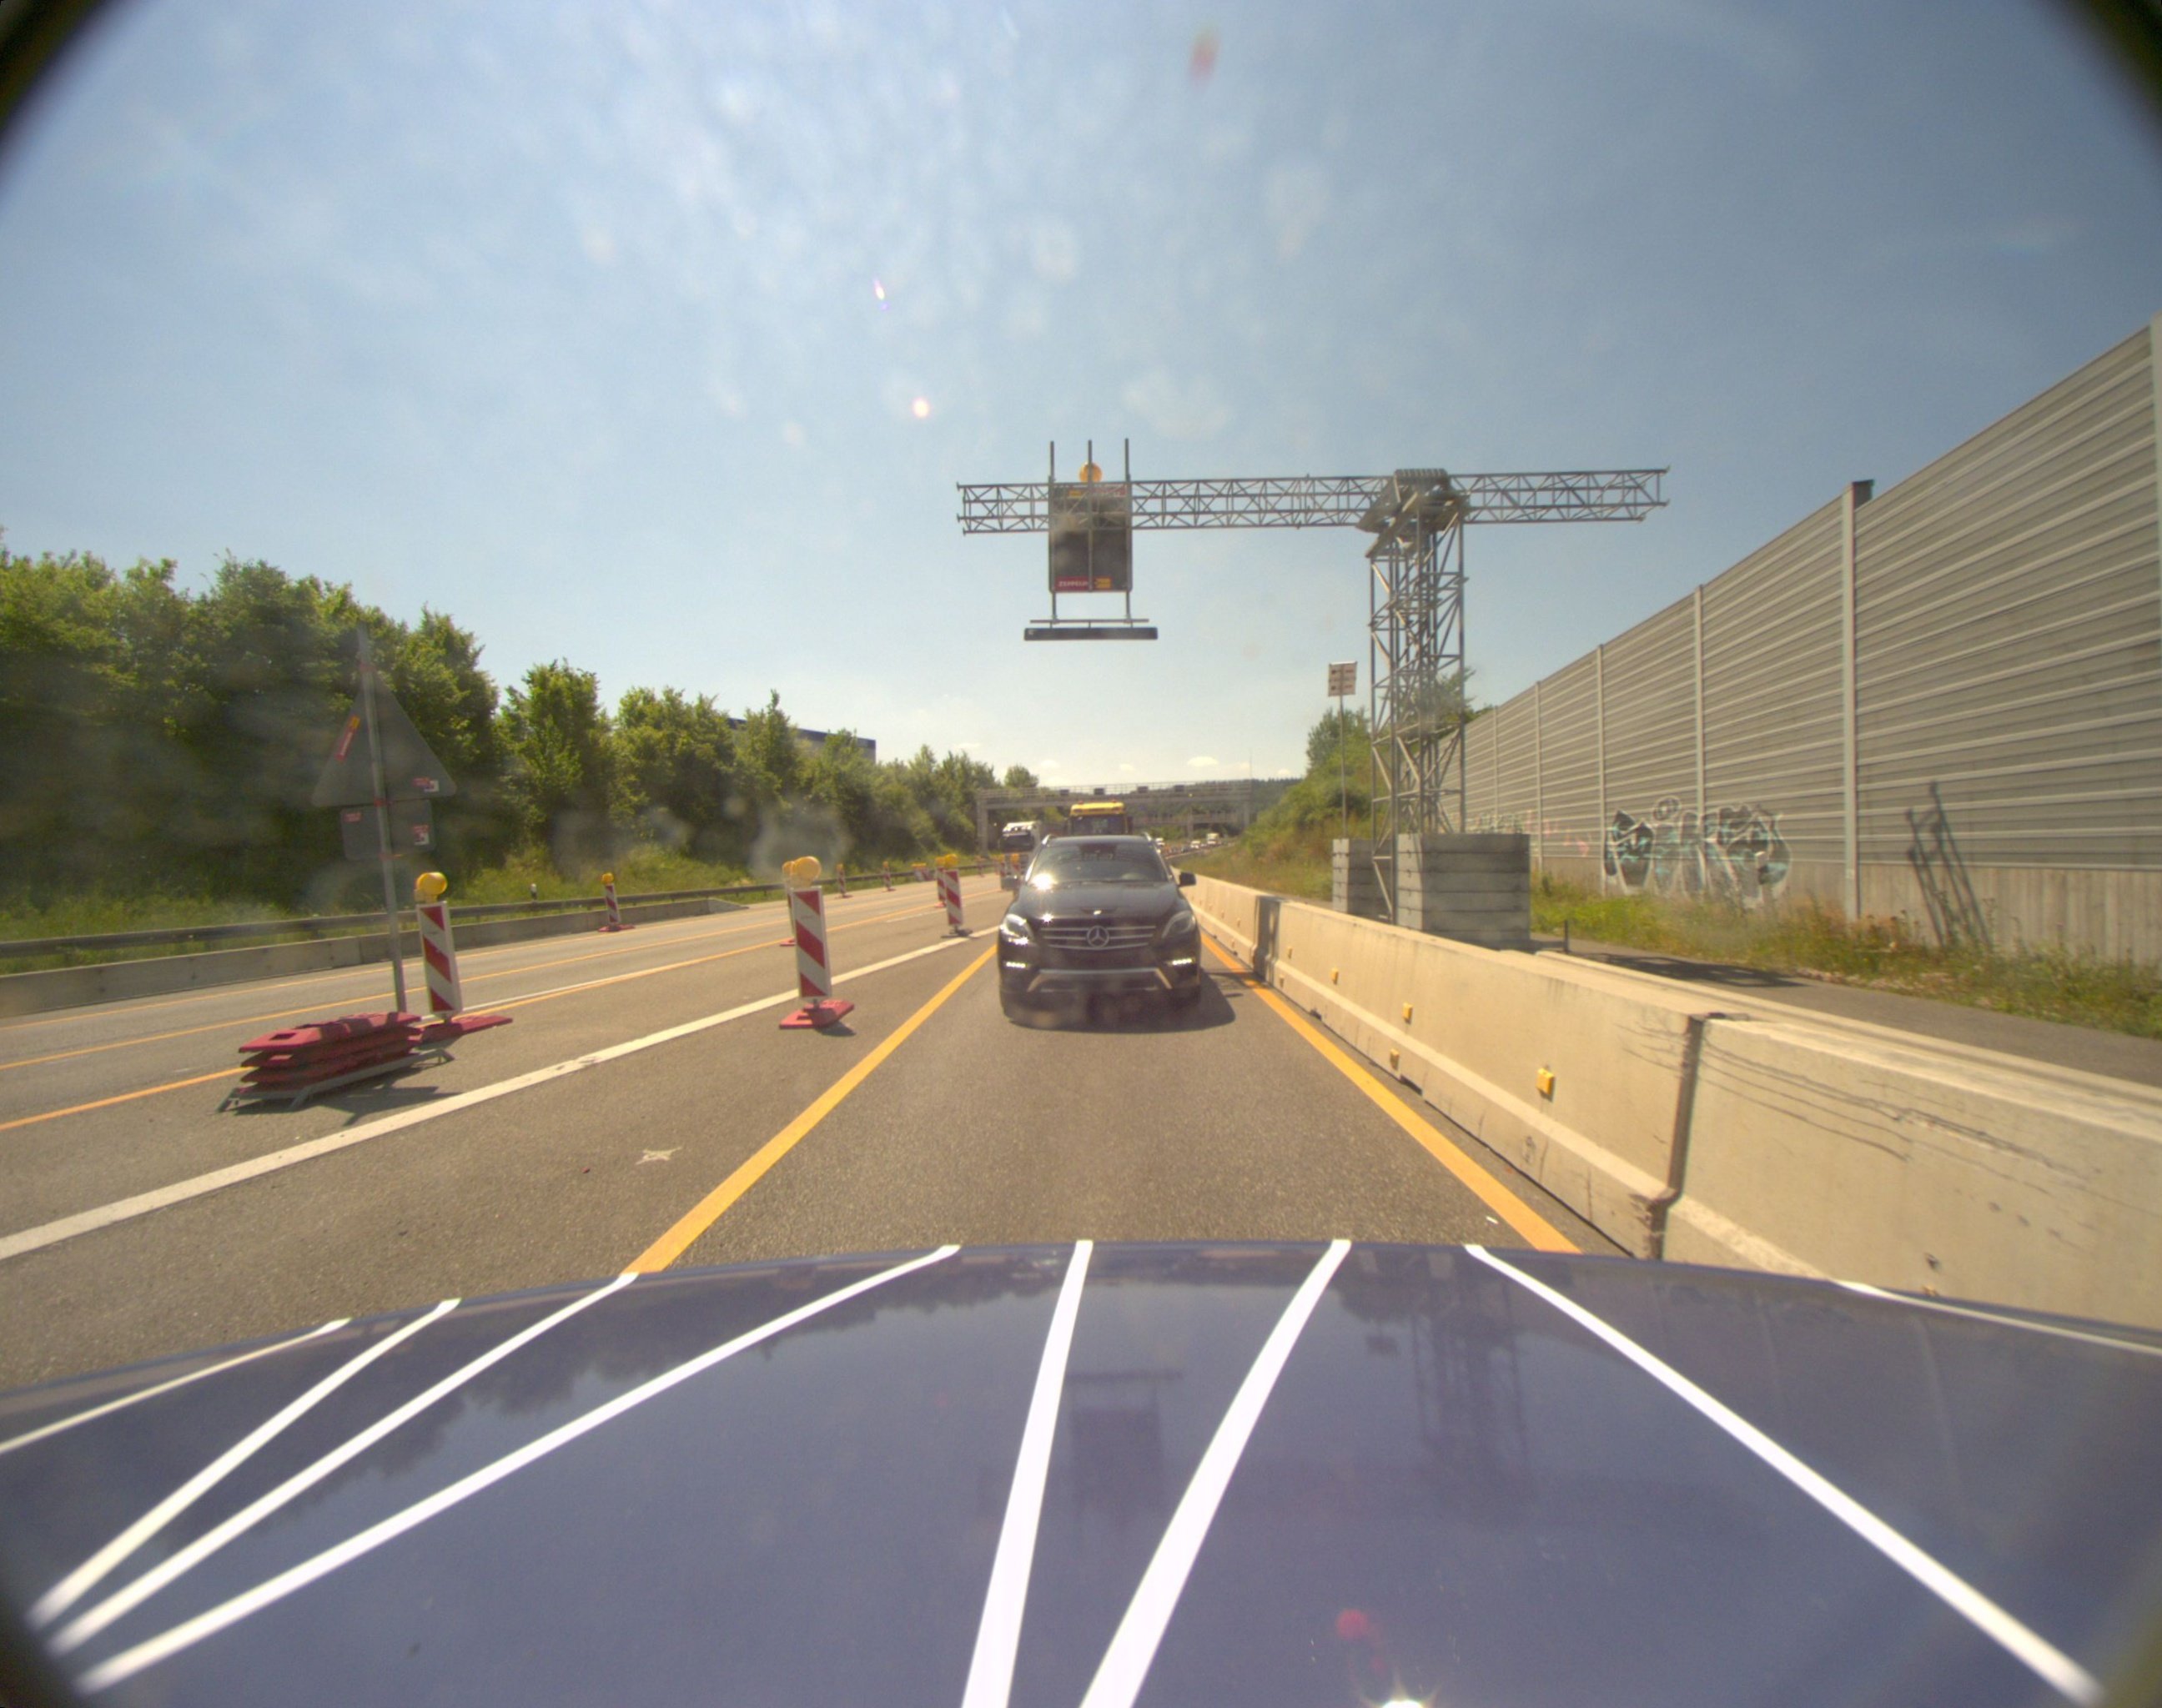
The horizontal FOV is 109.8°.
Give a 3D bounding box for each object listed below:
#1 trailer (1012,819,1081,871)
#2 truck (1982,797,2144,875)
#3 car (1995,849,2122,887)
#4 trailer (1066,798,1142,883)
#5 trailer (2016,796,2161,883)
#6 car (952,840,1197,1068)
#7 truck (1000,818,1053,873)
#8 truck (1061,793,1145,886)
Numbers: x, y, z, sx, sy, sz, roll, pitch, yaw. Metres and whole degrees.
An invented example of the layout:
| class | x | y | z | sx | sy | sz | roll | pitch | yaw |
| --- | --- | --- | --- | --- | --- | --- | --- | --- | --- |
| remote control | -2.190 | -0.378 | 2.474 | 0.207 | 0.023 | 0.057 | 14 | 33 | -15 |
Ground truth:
| class | x | y | z | sx | sy | sz | roll | pitch | yaw |
| --- | --- | --- | --- | --- | --- | --- | --- | --- | --- |
| trailer | -2.743 | -0.791 | 66.313 | 2.545 | 3.930 | 13.879 | -3 | 0 | 11 |
| truck | 57.853 | -1.037 | 45.032 | 3.549 | 4.246 | 5.787 | -2 | 1 | 24 |
| car | 45.670 | 0.608 | 35.646 | 1.717 | 1.614 | 4.176 | -1 | 1 | 20 |
| trailer | 1.569 | -0.612 | 42.900 | 3.236 | 3.645 | 17.426 | -3 | 0 | 4 |
| trailer | 55.016 | -0.818 | 38.561 | 3.549 | 4.246 | 13.928 | -2 | 1 | 24 |
| car | 0.243 | 0.749 | 8.043 | 1.818 | 1.686 | 4.495 | -3 | 1 | 8 |
| truck | -4.143 | -0.661 | 59.222 | 2.531 | 3.927 | 5.603 | -3 | 0 | 11 |
| truck | 1.123 | -0.585 | 34.436 | 3.229 | 3.639 | 7.085 | -3 | 0 | 4 |
